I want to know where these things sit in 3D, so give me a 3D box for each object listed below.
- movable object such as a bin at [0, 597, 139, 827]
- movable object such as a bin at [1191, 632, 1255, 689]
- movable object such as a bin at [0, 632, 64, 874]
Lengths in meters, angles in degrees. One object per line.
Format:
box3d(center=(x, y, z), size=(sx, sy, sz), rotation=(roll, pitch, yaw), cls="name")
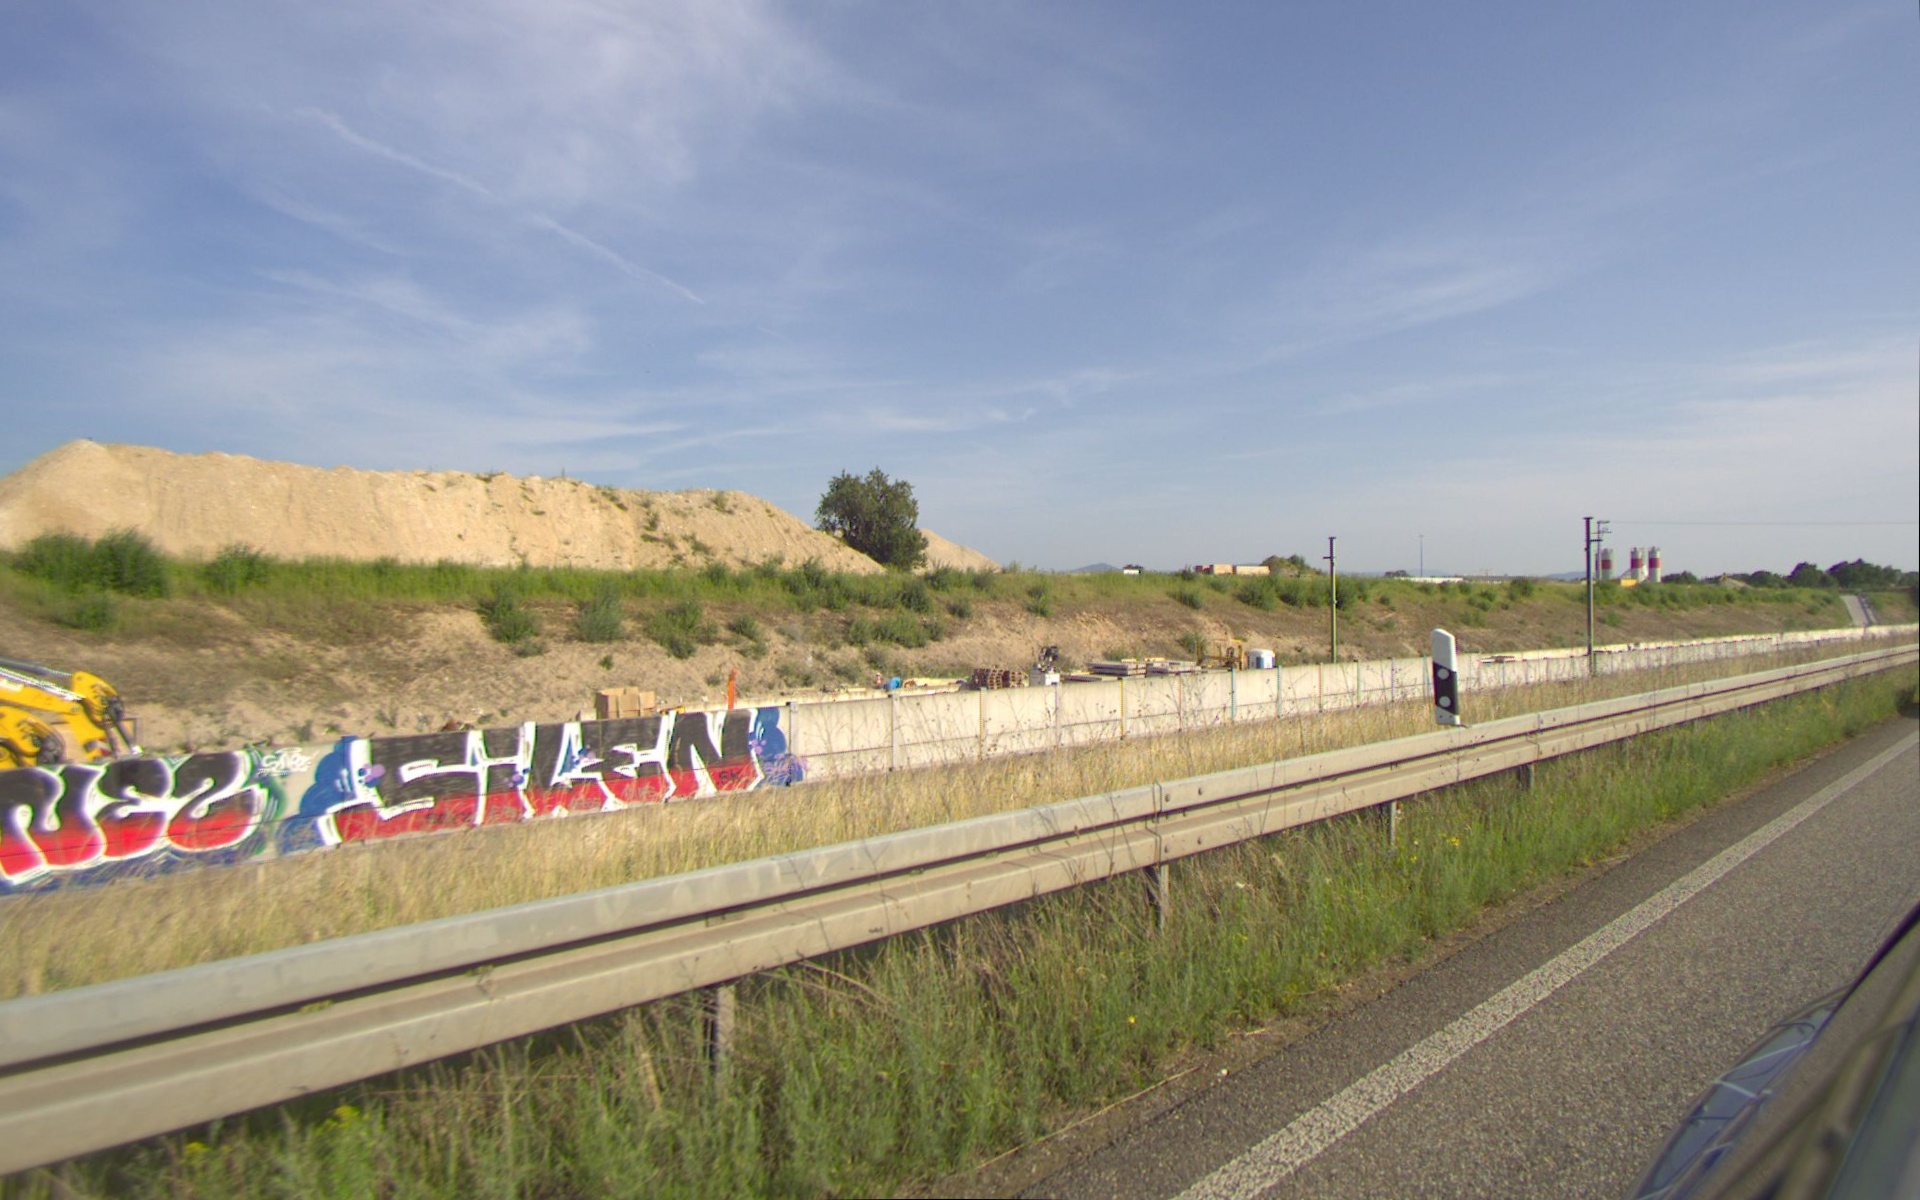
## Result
box3d(center=(-18.707, 1.906, 17.119), size=(7.406, 3.935, 2.801), rotation=(0, 0, -41), cls="movable object such as a bin")
box3d(center=(13.361, 3.045, 51.557), size=(1.977, 2.695, 2.919), rotation=(0, 0, -15), cls="movable object such as a bin")
box3d(center=(-16.753, 2.168, 12.872), size=(7.932, 3.280, 2.626), rotation=(0, 0, -41), cls="movable object such as a bin")
